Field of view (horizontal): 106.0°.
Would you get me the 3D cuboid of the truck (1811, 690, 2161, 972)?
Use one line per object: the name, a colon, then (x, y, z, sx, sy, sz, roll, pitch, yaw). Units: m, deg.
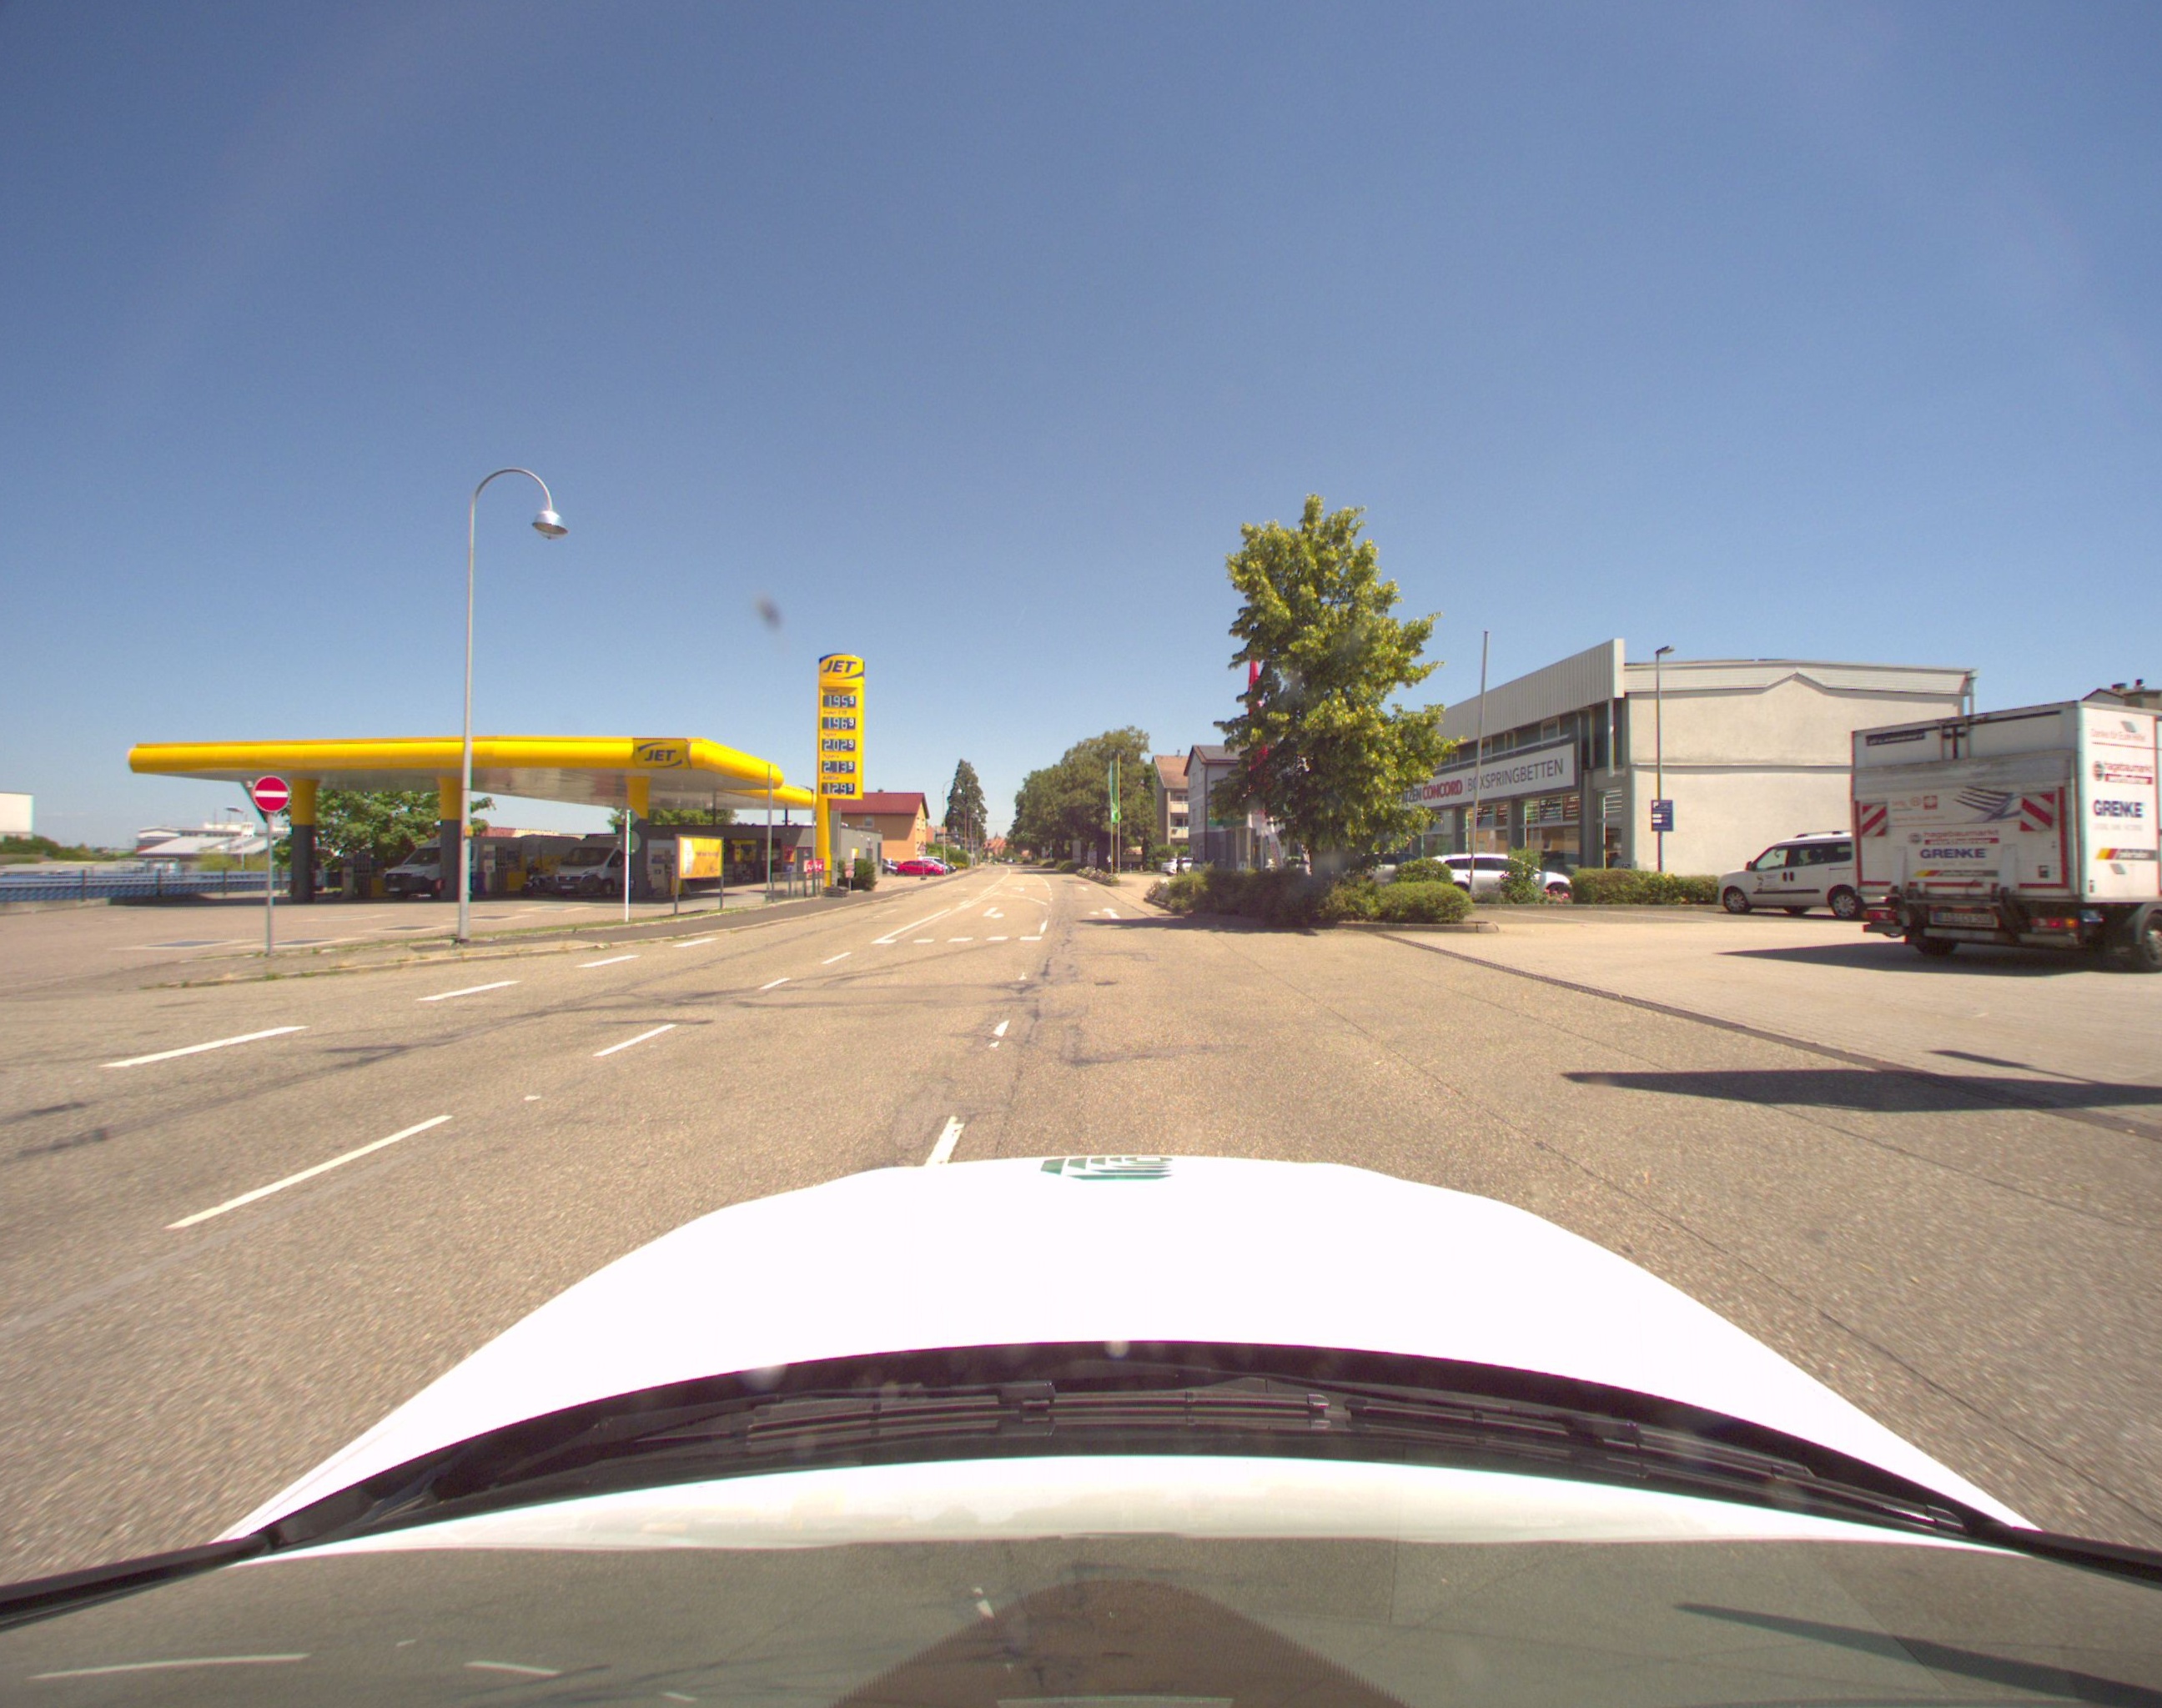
truck: (12.875, -0.245, 10.585, 5.950, 2.949, 2.408, 0, 0, -18)

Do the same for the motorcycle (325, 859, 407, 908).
motorcycle: (-30.835, 1.219, 35.194, 0.832, 2.014, 2.799, -1, -1, 8)

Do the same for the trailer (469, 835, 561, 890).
trailer: (-34.871, 0.471, 50.422, 1.861, 3.219, 5.905, -1, 0, -4)

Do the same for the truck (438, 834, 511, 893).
truck: (-34.618, 0.491, 46.578, 1.842, 3.242, 3.185, -1, 1, -4)

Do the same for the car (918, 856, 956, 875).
car: (-15.757, 1.262, 89.285, 4.093, 1.898, 1.994, -1, -1, -10)

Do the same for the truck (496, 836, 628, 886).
truck: (-37.611, 0.477, 59.212, 7.859, 3.426, 2.151, -1, -1, -6)

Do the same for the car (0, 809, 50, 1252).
car: (-5.183, 0.729, 1.198, 1.791, 1.772, 4.361, -2, 0, -2)

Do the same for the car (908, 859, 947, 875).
car: (-15.583, 1.325, 82.793, 3.660, 1.581, 1.918, -1, -1, -7)

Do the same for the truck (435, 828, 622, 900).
truck: (-24.354, 0.420, 36.391, 2.619, 2.913, 6.761, -1, 0, 17)

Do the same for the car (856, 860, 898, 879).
car: (-19.305, 1.430, 77.215, 3.661, 1.709, 1.888, -1, -1, -7)

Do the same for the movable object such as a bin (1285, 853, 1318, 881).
movable object such as a bin: (12.167, 0.720, 44.901, 1.557, 1.422, 0.702, -4, 0, 2)

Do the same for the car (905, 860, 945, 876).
car: (-14.987, 1.332, 78.271, 3.660, 1.457, 1.888, -1, -1, -7)

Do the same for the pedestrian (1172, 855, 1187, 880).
pedestrian: (6.597, 0.882, 54.517, 0.837, 1.641, 1.010, -1, -1, 0)

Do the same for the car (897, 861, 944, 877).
car: (-14.886, 1.390, 75.681, 4.120, 1.444, 1.823, -1, -1, -6)

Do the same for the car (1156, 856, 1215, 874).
car: (8.444, 0.854, 65.677, 4.368, 1.371, 1.938, -1, -1, -27)

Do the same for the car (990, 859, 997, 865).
car: (-23.524, 2.049, 219.465, 1.707, 1.495, 4.270, -1, 0, -5)

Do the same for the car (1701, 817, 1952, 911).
car: (16.793, 0.221, 18.690, 1.702, 1.890, 4.251, -1, 0, -3)

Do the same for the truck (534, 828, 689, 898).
truck: (-19.377, 0.370, 34.151, 2.224, 2.598, 6.738, -1, 0, 4)

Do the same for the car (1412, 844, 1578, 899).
car: (11.990, 0.513, 23.821, 3.961, 1.460, 1.811, -1, -1, 11)

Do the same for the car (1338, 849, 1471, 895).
car: (12.413, 0.685, 31.537, 4.548, 1.642, 2.008, -1, -1, 14)

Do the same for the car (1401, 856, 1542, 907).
car: (12.609, 0.886, 26.512, 3.827, 1.533, 1.684, -2, -1, 14)
